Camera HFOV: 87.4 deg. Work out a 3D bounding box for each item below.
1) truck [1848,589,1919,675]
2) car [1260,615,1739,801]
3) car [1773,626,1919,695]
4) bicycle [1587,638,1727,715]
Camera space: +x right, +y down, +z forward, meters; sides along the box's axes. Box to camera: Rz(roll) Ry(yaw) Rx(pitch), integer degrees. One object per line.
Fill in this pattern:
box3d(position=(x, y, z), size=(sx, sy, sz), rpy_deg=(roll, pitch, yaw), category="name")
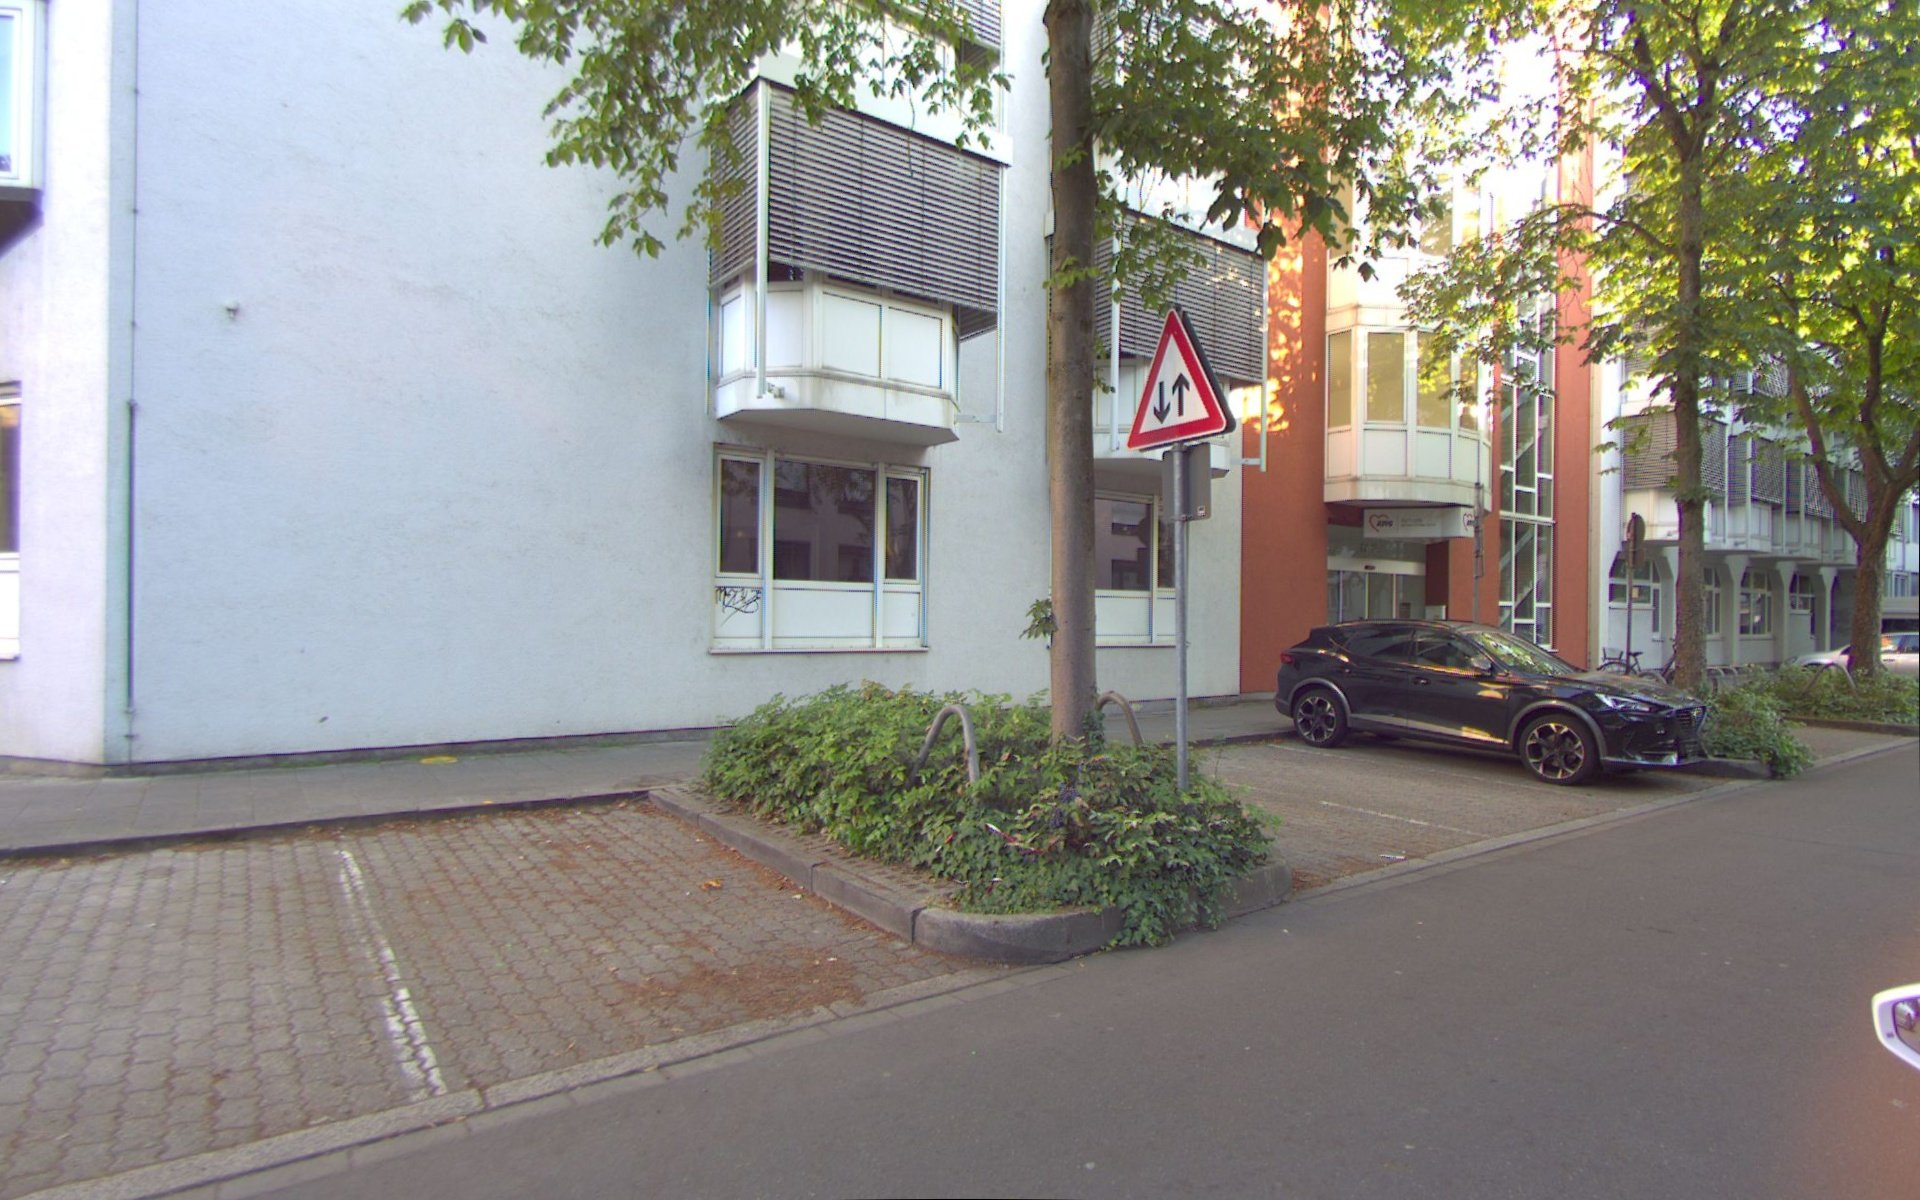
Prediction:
box3d(position=(28.770, 0.924, 28.547), size=(1.896, 2.474, 4.967), rpy_deg=(0, 1, -34), category="truck")
box3d(position=(5.695, 0.994, 11.139), size=(1.817, 1.529, 4.326), rpy_deg=(1, 0, -36), category="car")
box3d(position=(22.064, 1.424, 23.787), size=(1.624, 1.491, 4.103), rpy_deg=(1, 0, -36), category="car")
box3d(position=(12.083, 1.294, 17.469), size=(1.949, 1.215, 0.499), rpy_deg=(0, -1, 44), category="bicycle")
